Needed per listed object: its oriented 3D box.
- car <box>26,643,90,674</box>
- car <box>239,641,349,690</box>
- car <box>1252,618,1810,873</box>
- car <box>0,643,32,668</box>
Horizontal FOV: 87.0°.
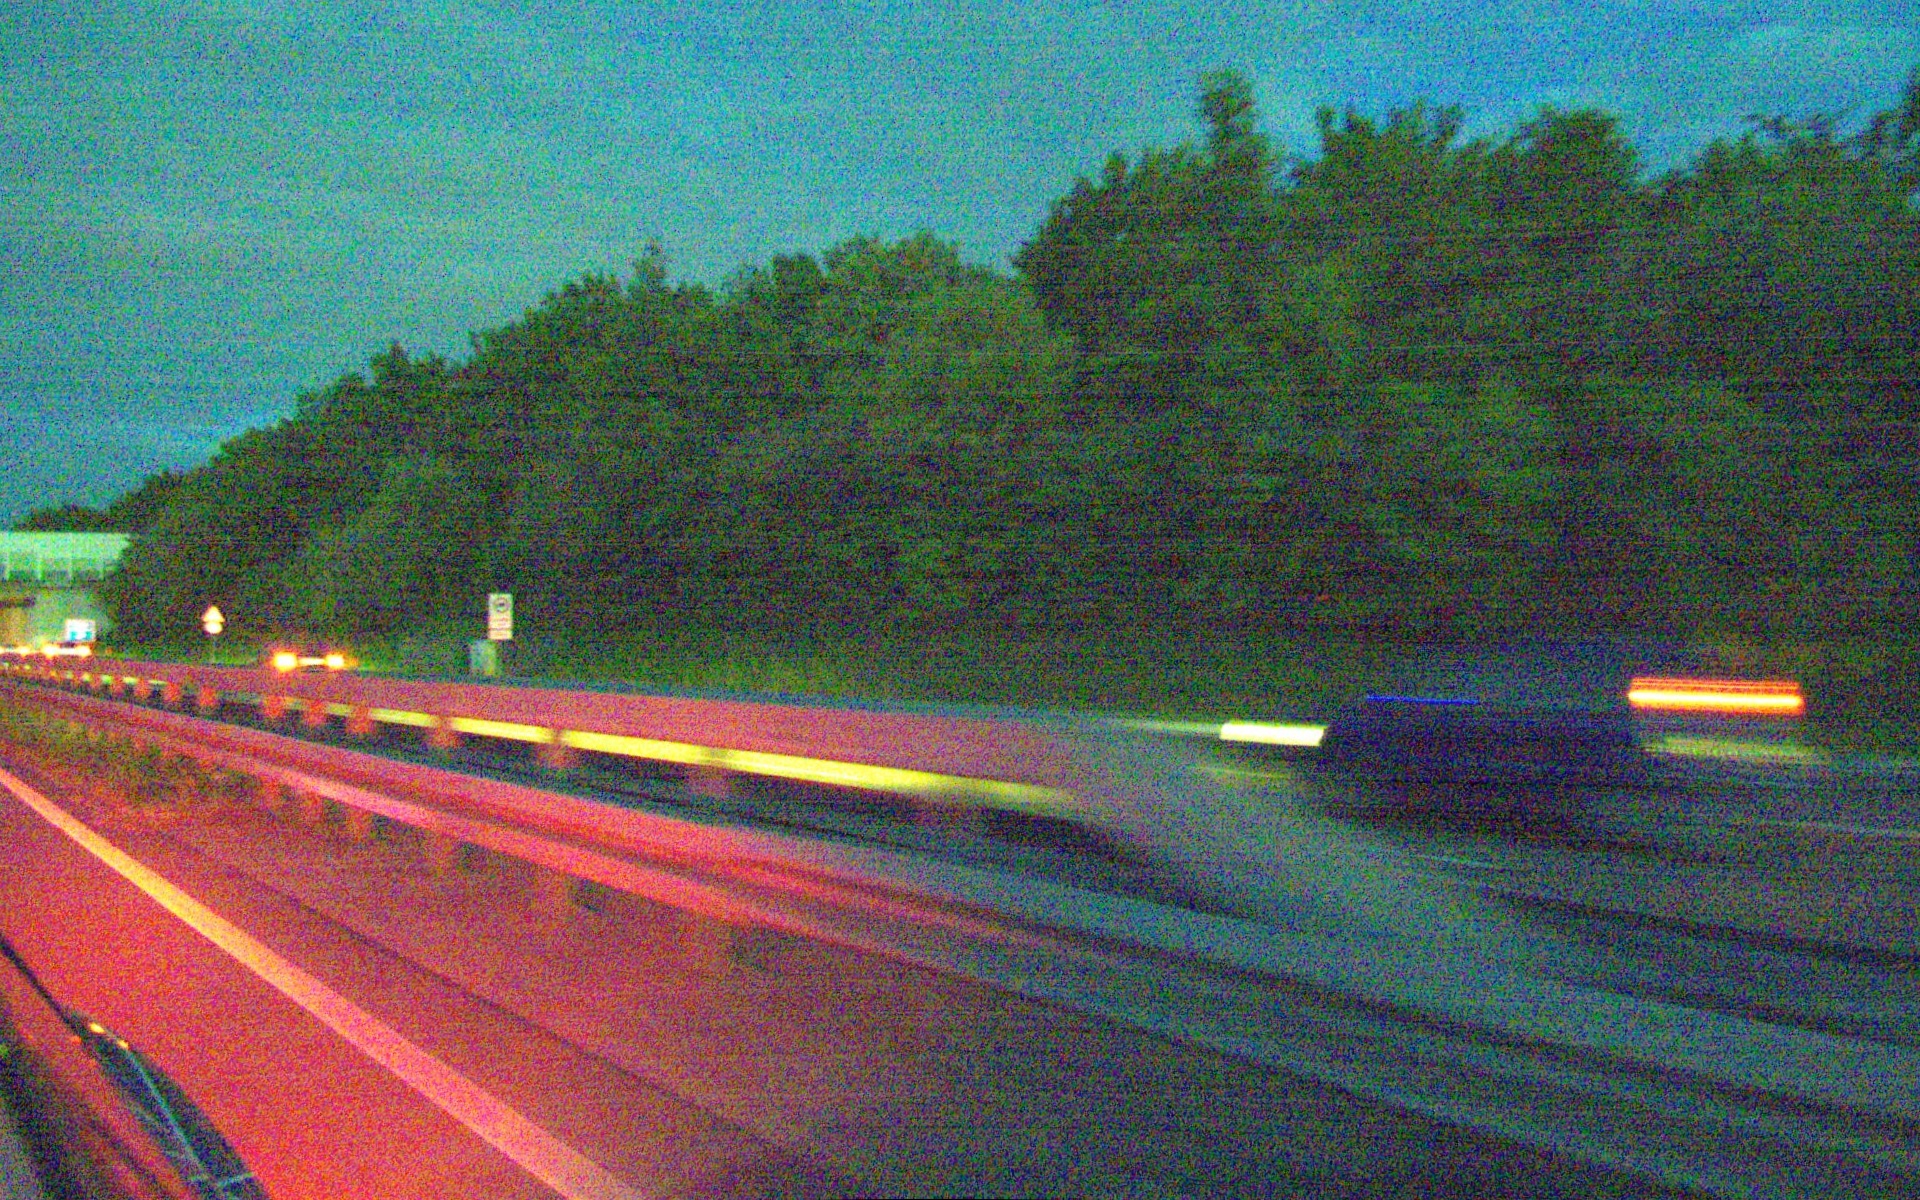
[{"bbox_3d":[-51.553,3.298,57.832,4.695,1.643,2.100,-2,-3,40],"label":"car"},{"bbox_3d":[-22.008,2.120,33.359,4.698,1.498,1.932,-2,-4,43],"label":"car"},{"bbox_3d":[4.250,0.962,7.834,3.513,1.531,1.529,-2,-4,40],"label":"car"},{"bbox_3d":[-64.094,3.704,67.694,4.689,1.565,2.102,-2,-2,36],"label":"car"}]
